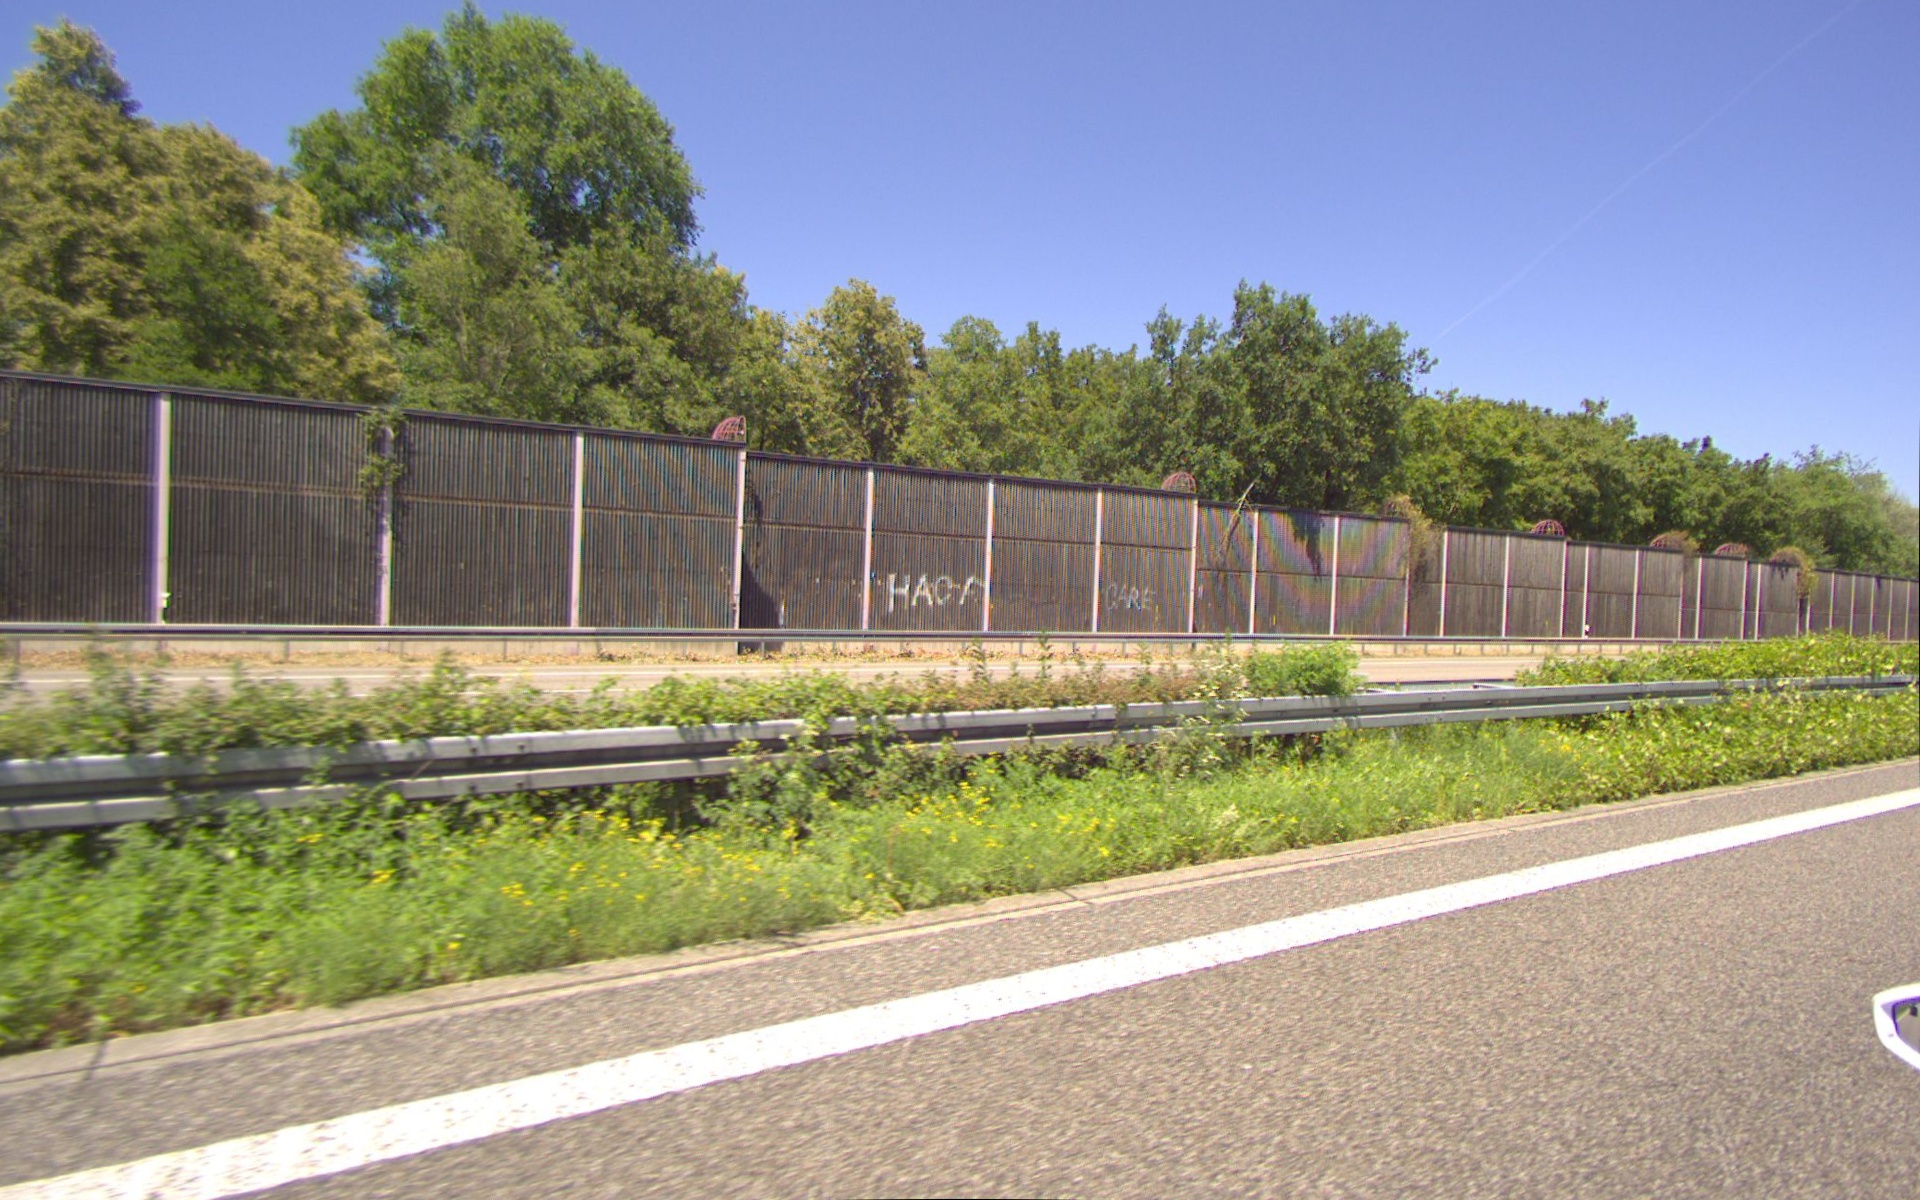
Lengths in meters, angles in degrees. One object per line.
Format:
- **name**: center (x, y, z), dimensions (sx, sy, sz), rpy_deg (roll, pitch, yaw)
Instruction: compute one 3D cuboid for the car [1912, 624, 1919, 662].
- **car**: center (45.106, 1.970, 45.390), dimensions (4.641, 1.669, 1.982), rpy_deg (2, 0, -32)
